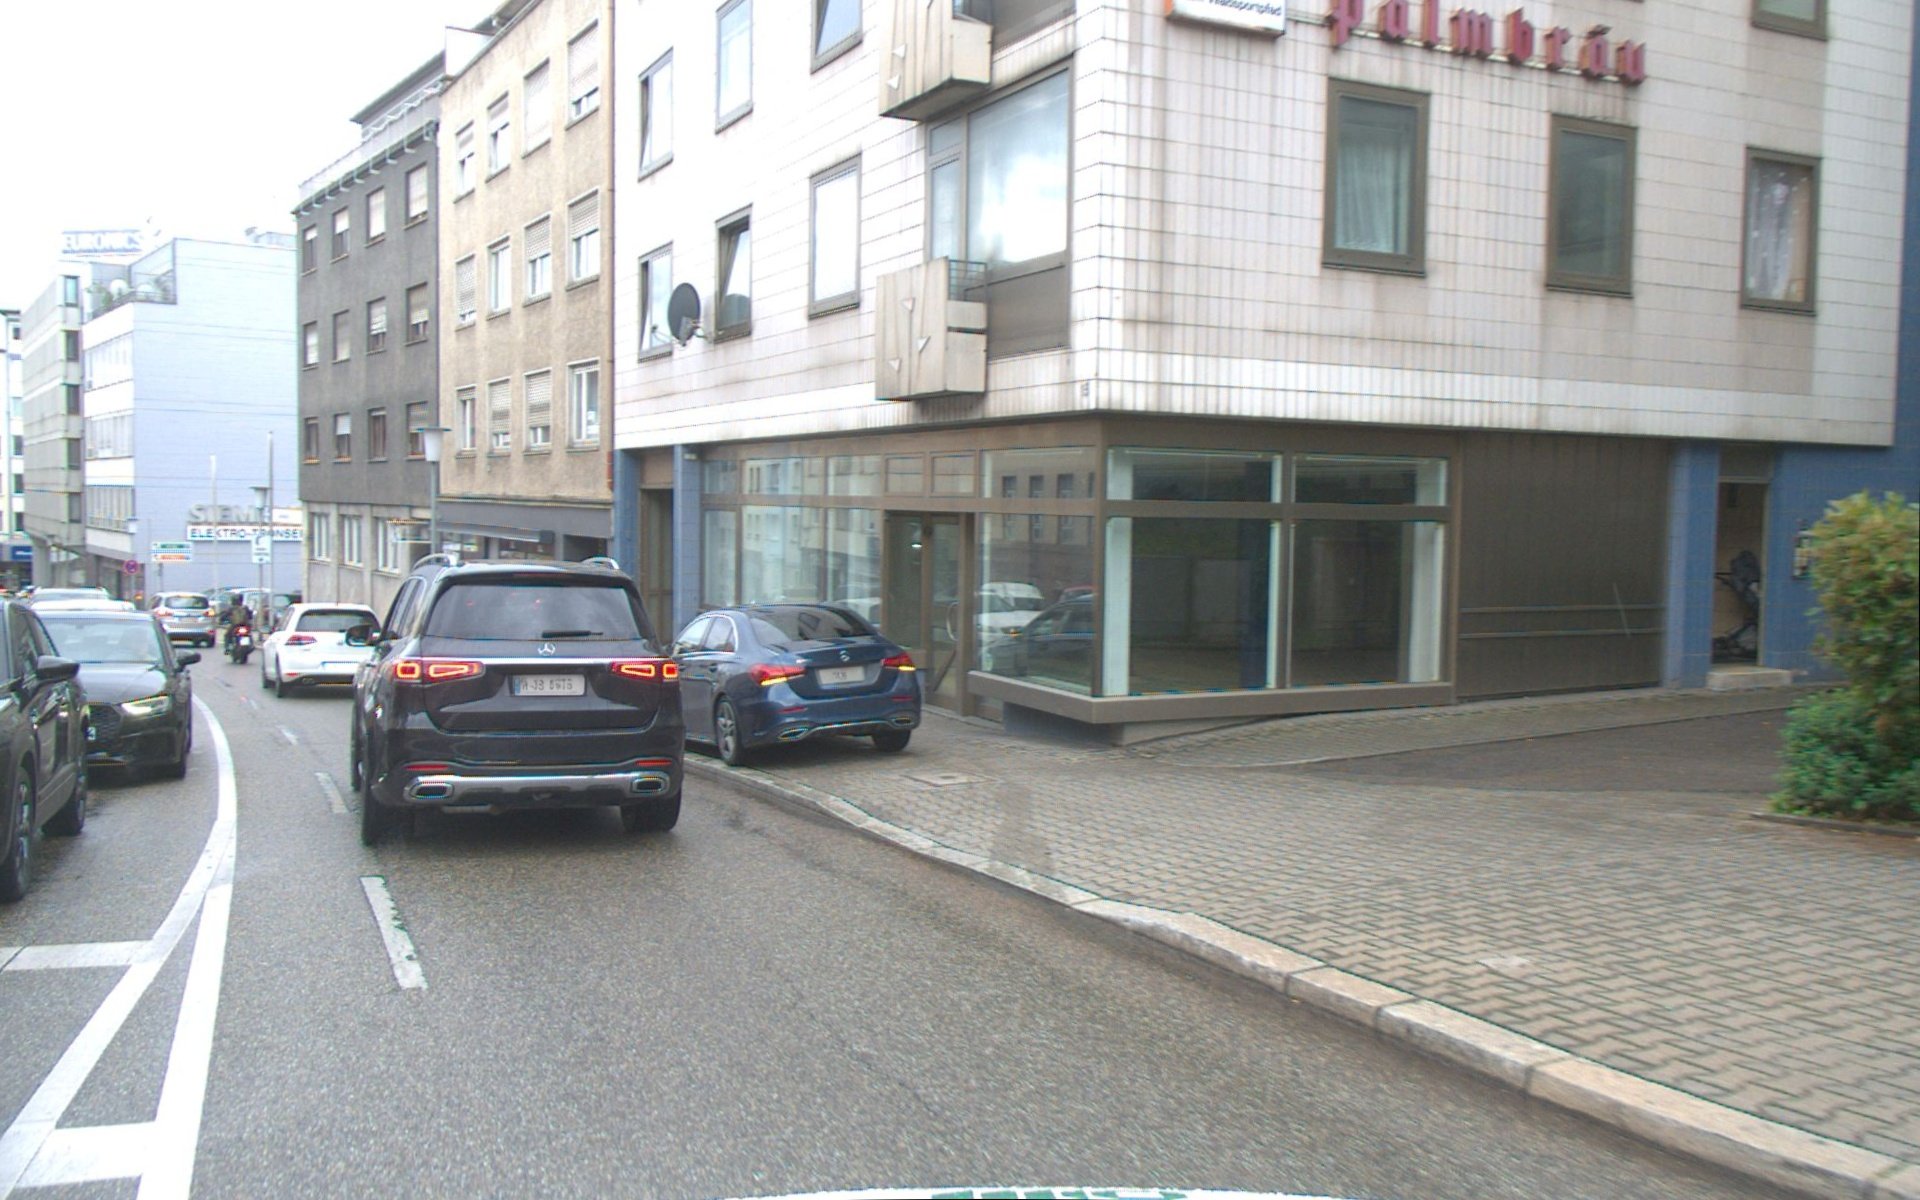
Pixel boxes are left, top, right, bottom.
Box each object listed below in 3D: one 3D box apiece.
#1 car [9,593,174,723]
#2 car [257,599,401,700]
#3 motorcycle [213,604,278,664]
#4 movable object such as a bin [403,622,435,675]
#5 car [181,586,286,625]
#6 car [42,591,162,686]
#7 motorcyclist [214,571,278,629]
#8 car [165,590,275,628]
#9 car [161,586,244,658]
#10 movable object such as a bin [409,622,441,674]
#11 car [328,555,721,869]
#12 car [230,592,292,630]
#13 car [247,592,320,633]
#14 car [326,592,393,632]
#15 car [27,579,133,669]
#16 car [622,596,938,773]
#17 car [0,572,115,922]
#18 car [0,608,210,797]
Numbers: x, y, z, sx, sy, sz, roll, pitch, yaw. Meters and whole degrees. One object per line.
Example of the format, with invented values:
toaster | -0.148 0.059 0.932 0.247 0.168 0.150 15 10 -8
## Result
car | -11.650 0.712 22.299 1.785 1.548 4.521 0 0 -27
car | -10.528 0.766 27.431 1.808 1.487 4.341 -1 0 -27
motorcycle | -16.382 0.756 37.863 0.860 1.075 2.906 0 4 -33
movable object such as a bin | -10.829 0.968 33.102 0.518 0.997 0.533 1 4 -27
car | -32.453 0.278 73.978 1.763 1.625 3.985 -1 -2 35
car | -14.858 0.647 28.730 1.678 1.506 4.253 2 -1 -27
motorcyclist | -16.375 -0.015 37.884 0.860 1.075 2.906 0 4 -33
car | -31.721 0.416 70.972 1.698 1.521 3.985 -1 -2 35
car | -22.620 0.631 49.354 1.738 1.810 3.535 0 4 -33
movable object such as a bin | -10.541 0.950 32.577 0.518 0.966 0.533 1 4 -27
car | -3.341 0.631 11.915 1.994 1.770 4.711 0 0 -24
car | -28.984 0.429 68.565 1.553 1.503 4.019 1 0 -35
car | -26.138 0.455 63.820 1.781 1.503 4.433 1 0 -33
car | -23.879 0.453 65.672 1.778 1.503 4.440 0 0 -30
car | -18.470 0.494 34.644 1.787 1.735 4.516 2 -1 -29
car | -1.925 0.721 16.305 1.742 1.416 4.343 -3 1 -25
car | -5.904 0.695 9.085 1.793 1.564 4.350 0 -1 -21
car | -7.804 0.799 14.881 1.782 1.439 4.348 0 0 -23
